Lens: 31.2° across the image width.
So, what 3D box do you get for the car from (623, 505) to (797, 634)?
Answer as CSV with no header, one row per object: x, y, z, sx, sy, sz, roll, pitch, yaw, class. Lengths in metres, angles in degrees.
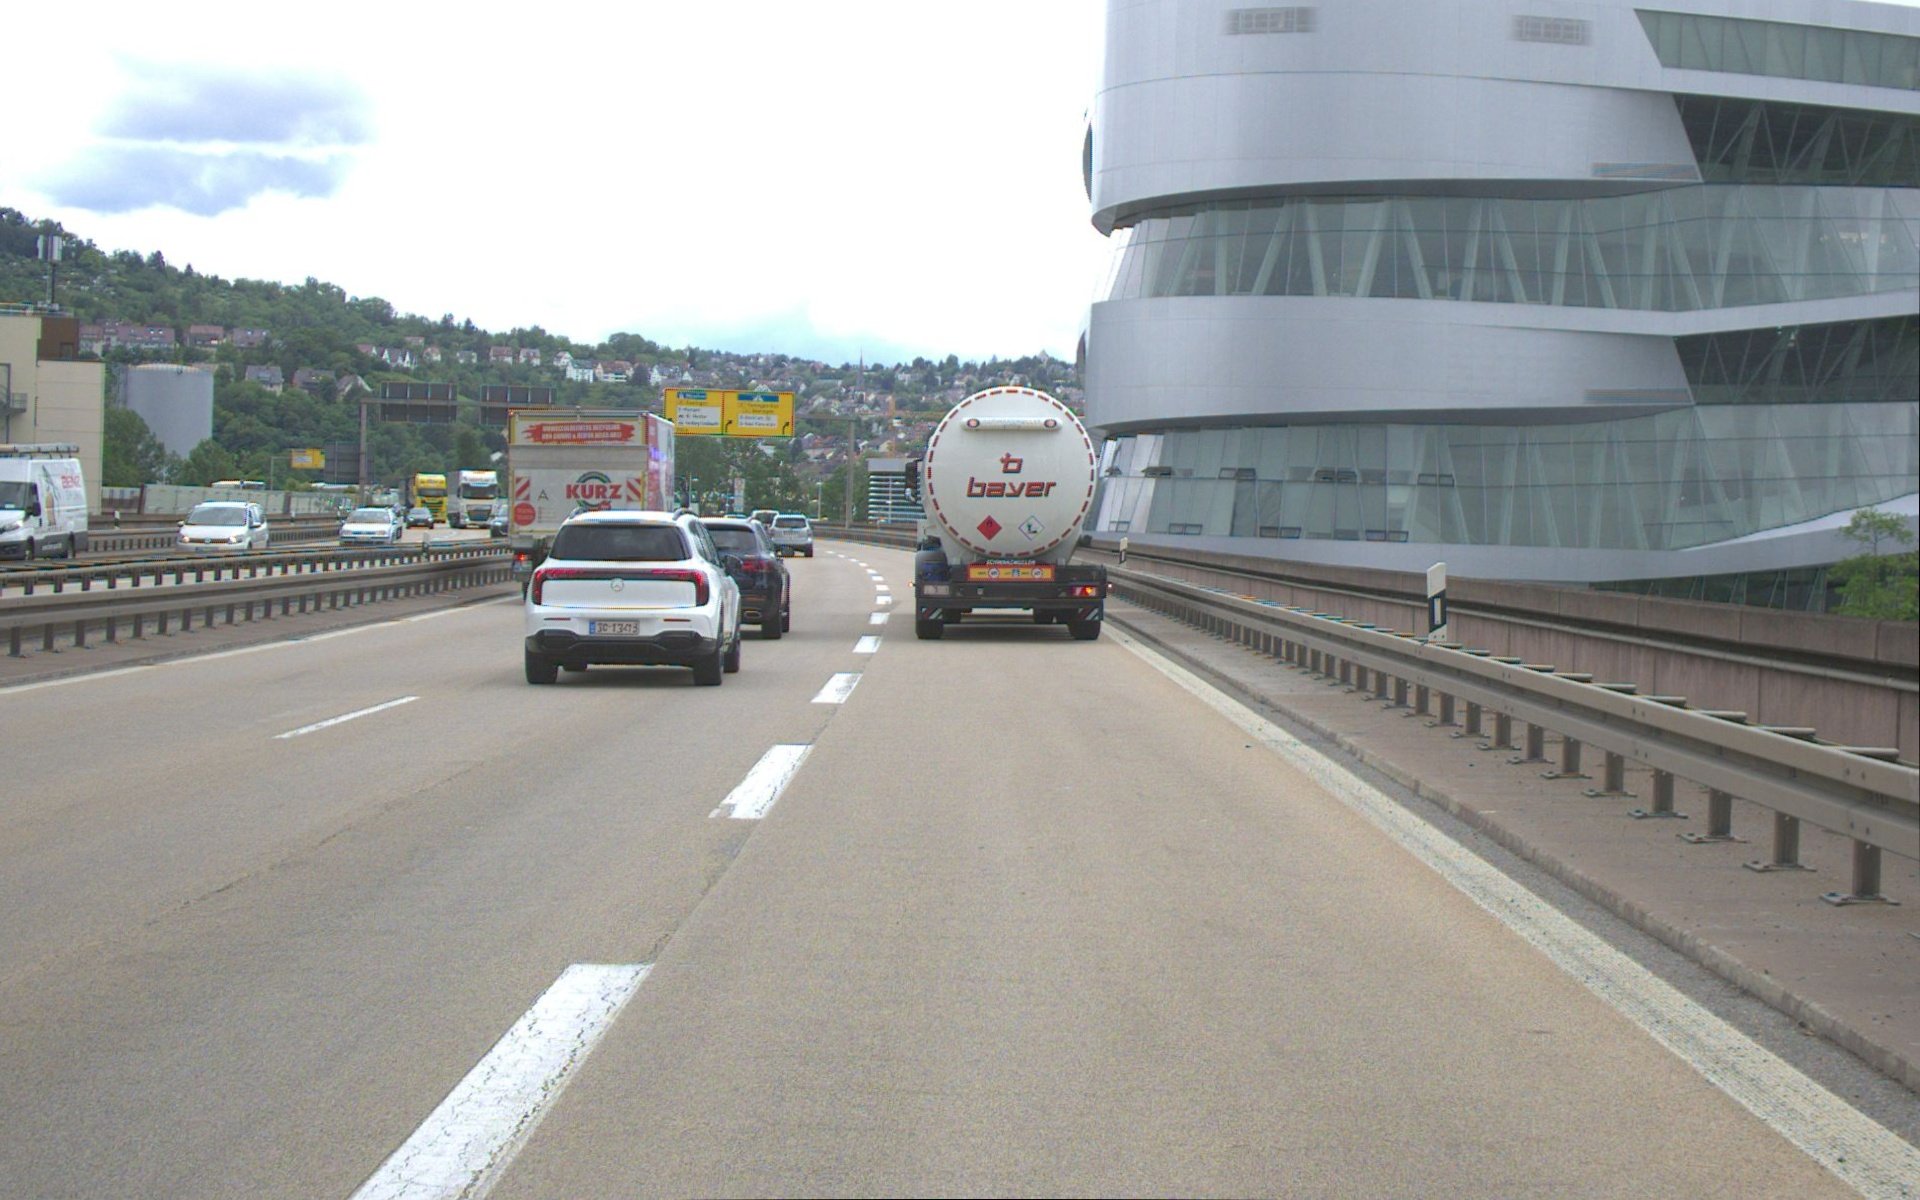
-3.381,-0.428,47.290,1.993,1.669,4.408,1,1,1,car

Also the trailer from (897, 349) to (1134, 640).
0.783,-1.437,49.158,3.057,3.777,8.304,1,1,1,trailer

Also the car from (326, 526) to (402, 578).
-19.847,-1.602,114.561,1.683,1.644,4.448,2,1,0,car

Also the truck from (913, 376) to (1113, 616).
0.844,-1.627,55.655,3.014,3.644,6.273,1,1,1,truck

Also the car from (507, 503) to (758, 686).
-3.174,-0.078,34.116,1.993,1.669,4.408,1,1,1,car

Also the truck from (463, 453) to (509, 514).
-32.740,-8.046,237.462,2.771,4.065,5.647,1,1,-4,truck

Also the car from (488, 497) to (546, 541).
-18.098,-3.305,140.638,1.762,1.644,4.335,3,1,0,car

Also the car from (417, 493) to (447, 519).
-35.983,-6.416,234.351,1.682,1.644,4.360,2,1,-4,car

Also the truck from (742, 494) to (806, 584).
-9.715,-3.167,178.884,3.056,4.546,8.305,1,1,-5,truck

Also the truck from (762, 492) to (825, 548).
-6.600,-3.174,137.011,2.255,2.156,5.069,1,1,0,truck

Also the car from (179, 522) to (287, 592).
-17.906,-1.055,84.783,1.683,1.644,4.313,2,1,0,car

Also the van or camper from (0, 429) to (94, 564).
-22.099,-2.385,80.056,2.171,2.998,7.118,1,1,-1,van or camper

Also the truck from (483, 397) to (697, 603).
-6.961,-1.852,65.901,3.057,3.678,8.304,1,1,1,truck
